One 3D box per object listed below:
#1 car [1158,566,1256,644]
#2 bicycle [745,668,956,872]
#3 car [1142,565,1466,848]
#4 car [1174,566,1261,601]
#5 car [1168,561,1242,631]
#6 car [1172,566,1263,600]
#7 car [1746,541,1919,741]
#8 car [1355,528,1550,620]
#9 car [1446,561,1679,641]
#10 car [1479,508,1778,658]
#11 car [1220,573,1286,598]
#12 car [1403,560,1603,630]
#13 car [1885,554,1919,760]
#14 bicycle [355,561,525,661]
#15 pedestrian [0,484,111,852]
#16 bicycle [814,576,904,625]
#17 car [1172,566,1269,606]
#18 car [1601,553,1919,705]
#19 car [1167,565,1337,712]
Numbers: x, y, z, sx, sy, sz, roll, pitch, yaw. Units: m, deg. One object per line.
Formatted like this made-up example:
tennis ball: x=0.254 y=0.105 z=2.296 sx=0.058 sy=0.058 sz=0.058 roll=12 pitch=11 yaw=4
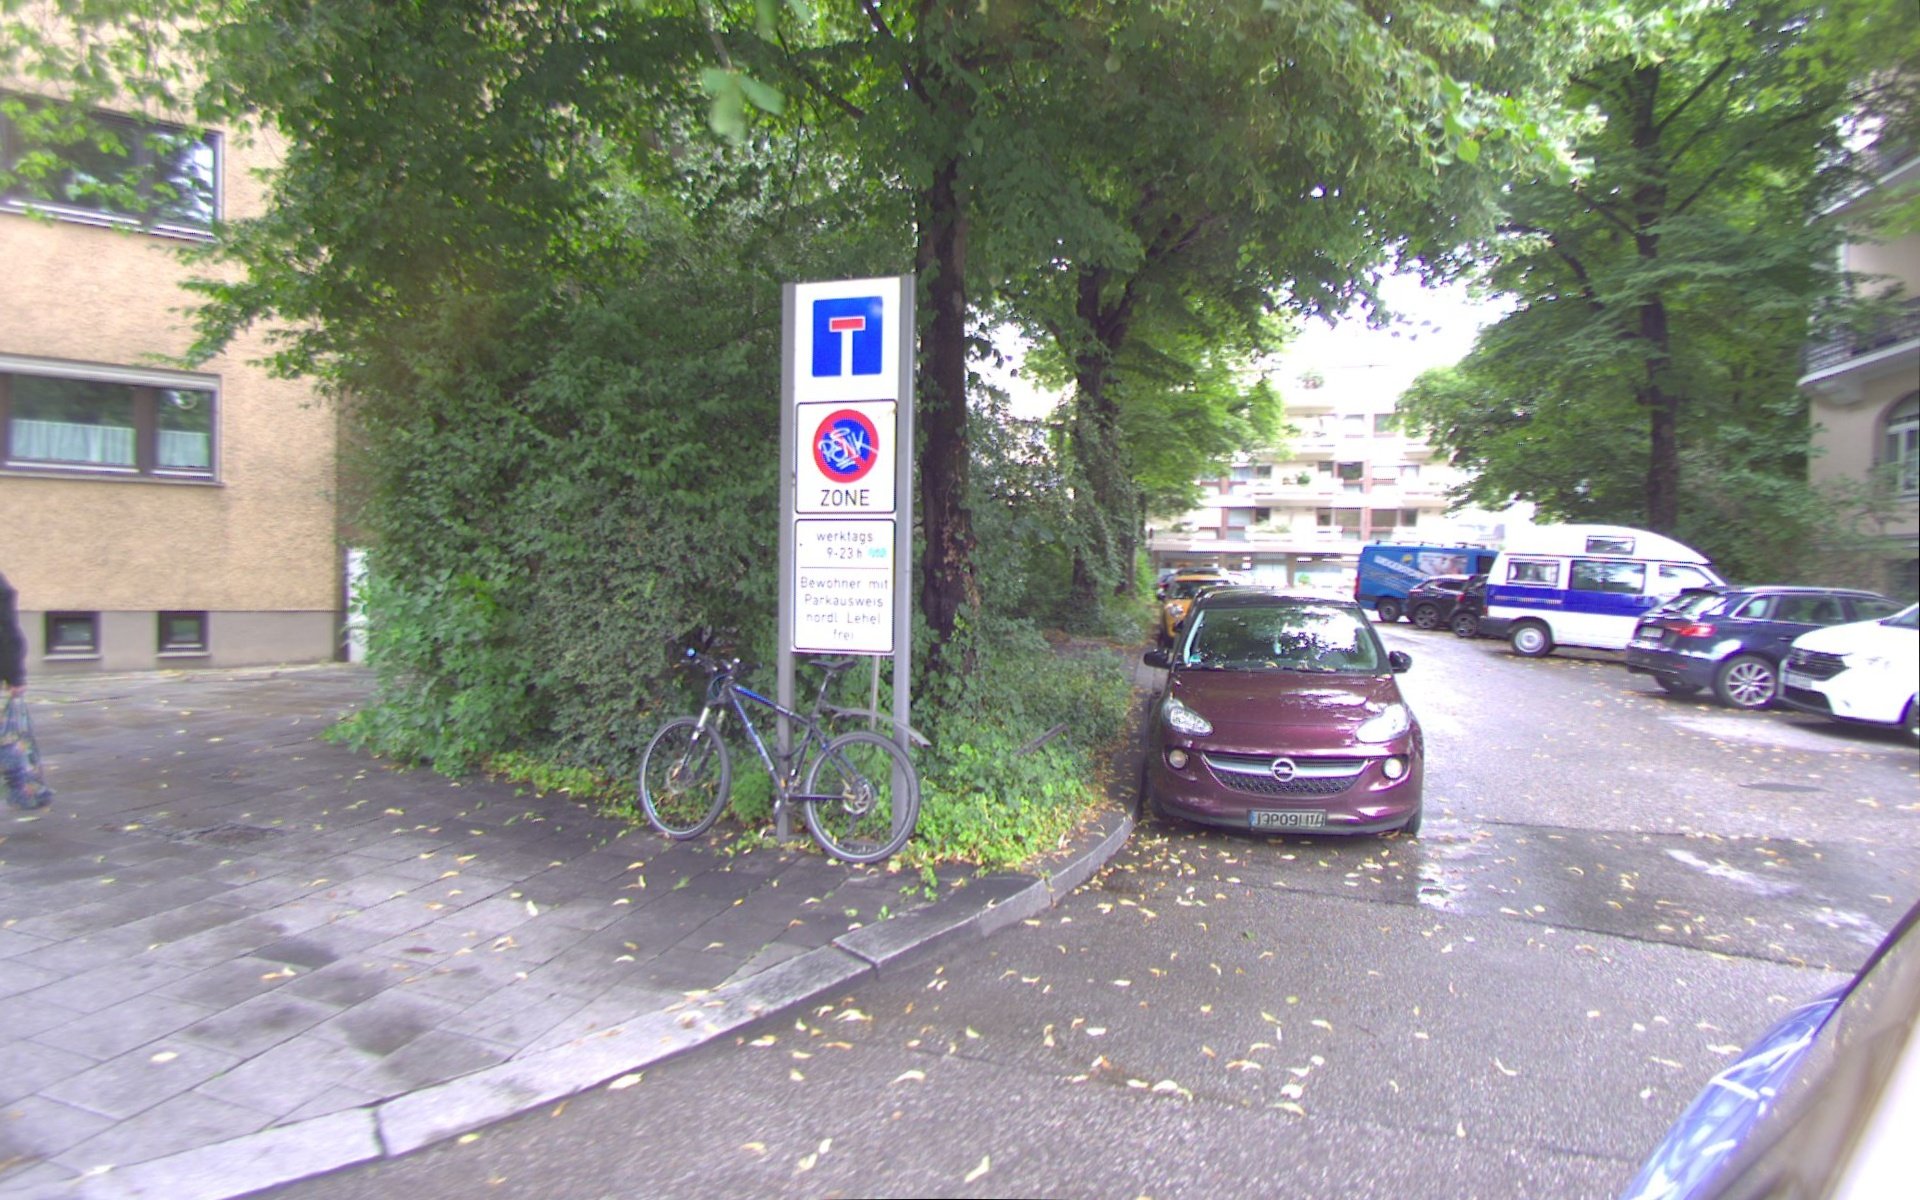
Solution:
car: x=5.089 y=0.035 z=21.243 sx=1.670 sy=1.456 sz=3.768 roll=1 pitch=2 yaw=9
bicycle: x=-0.563 y=0.826 z=5.108 sx=1.067 sy=0.891 sz=0.248 roll=1 pitch=1 yaw=23
car: x=2.410 y=0.528 z=7.511 sx=1.709 sy=1.515 sz=3.691 roll=1 pitch=2 yaw=16
car: x=11.630 y=-0.749 z=45.939 sx=3.632 sy=1.496 sz=1.850 roll=1 pitch=1 yaw=11
car: x=6.278 y=-0.160 z=25.946 sx=1.672 sy=1.618 sz=4.091 roll=1 pitch=2 yaw=14
car: x=11.084 y=-0.748 z=43.776 sx=3.632 sy=1.410 sz=1.850 roll=1 pitch=1 yaw=11
car: x=10.364 y=0.383 z=9.541 sx=4.181 sy=1.773 sz=1.911 roll=1 pitch=1 yaw=13
car: x=14.162 y=-0.779 z=29.322 sx=1.945 sy=2.441 sz=4.683 roll=0 pitch=2 yaw=-42
car: x=13.433 y=-0.048 z=22.744 sx=1.870 sy=1.623 sz=4.105 roll=0 pitch=2 yaw=-39
car: x=11.622 y=-0.338 z=17.790 sx=4.158 sy=2.342 sz=1.878 roll=2 pitch=2 yaw=37
car: x=17.167 y=-0.874 z=59.420 sx=3.638 sy=1.373 sz=1.847 roll=1 pitch=1 yaw=15
car: x=13.829 y=-0.179 z=25.943 sx=1.870 sy=1.623 sz=4.105 roll=0 pitch=2 yaw=-39
car: x=9.615 y=0.514 z=7.080 sx=4.179 sy=1.640 sz=1.912 roll=1 pitch=1 yaw=12
bicycle: x=-6.965 y=0.092 z=13.730 sx=0.693 sy=1.232 sz=2.424 roll=1 pitch=2 yaw=12
pedestrian: x=-4.724 y=0.298 z=4.791 sx=0.967 sy=1.644 sz=0.669 roll=0 pitch=1 yaw=17
bicycle: x=-2.032 y=0.002 z=20.373 sx=1.728 sy=0.924 sz=0.533 roll=1 pitch=1 yaw=5
car: x=10.494 y=-0.584 z=40.944 sx=3.632 sy=1.496 sz=1.850 roll=1 pitch=1 yaw=11
car: x=10.331 y=0.294 z=11.962 sx=4.181 sy=1.619 sz=1.911 roll=1 pitch=1 yaw=13
car: x=3.501 y=0.345 z=12.721 sx=1.707 sy=1.515 sz=4.032 roll=1 pitch=2 yaw=12
